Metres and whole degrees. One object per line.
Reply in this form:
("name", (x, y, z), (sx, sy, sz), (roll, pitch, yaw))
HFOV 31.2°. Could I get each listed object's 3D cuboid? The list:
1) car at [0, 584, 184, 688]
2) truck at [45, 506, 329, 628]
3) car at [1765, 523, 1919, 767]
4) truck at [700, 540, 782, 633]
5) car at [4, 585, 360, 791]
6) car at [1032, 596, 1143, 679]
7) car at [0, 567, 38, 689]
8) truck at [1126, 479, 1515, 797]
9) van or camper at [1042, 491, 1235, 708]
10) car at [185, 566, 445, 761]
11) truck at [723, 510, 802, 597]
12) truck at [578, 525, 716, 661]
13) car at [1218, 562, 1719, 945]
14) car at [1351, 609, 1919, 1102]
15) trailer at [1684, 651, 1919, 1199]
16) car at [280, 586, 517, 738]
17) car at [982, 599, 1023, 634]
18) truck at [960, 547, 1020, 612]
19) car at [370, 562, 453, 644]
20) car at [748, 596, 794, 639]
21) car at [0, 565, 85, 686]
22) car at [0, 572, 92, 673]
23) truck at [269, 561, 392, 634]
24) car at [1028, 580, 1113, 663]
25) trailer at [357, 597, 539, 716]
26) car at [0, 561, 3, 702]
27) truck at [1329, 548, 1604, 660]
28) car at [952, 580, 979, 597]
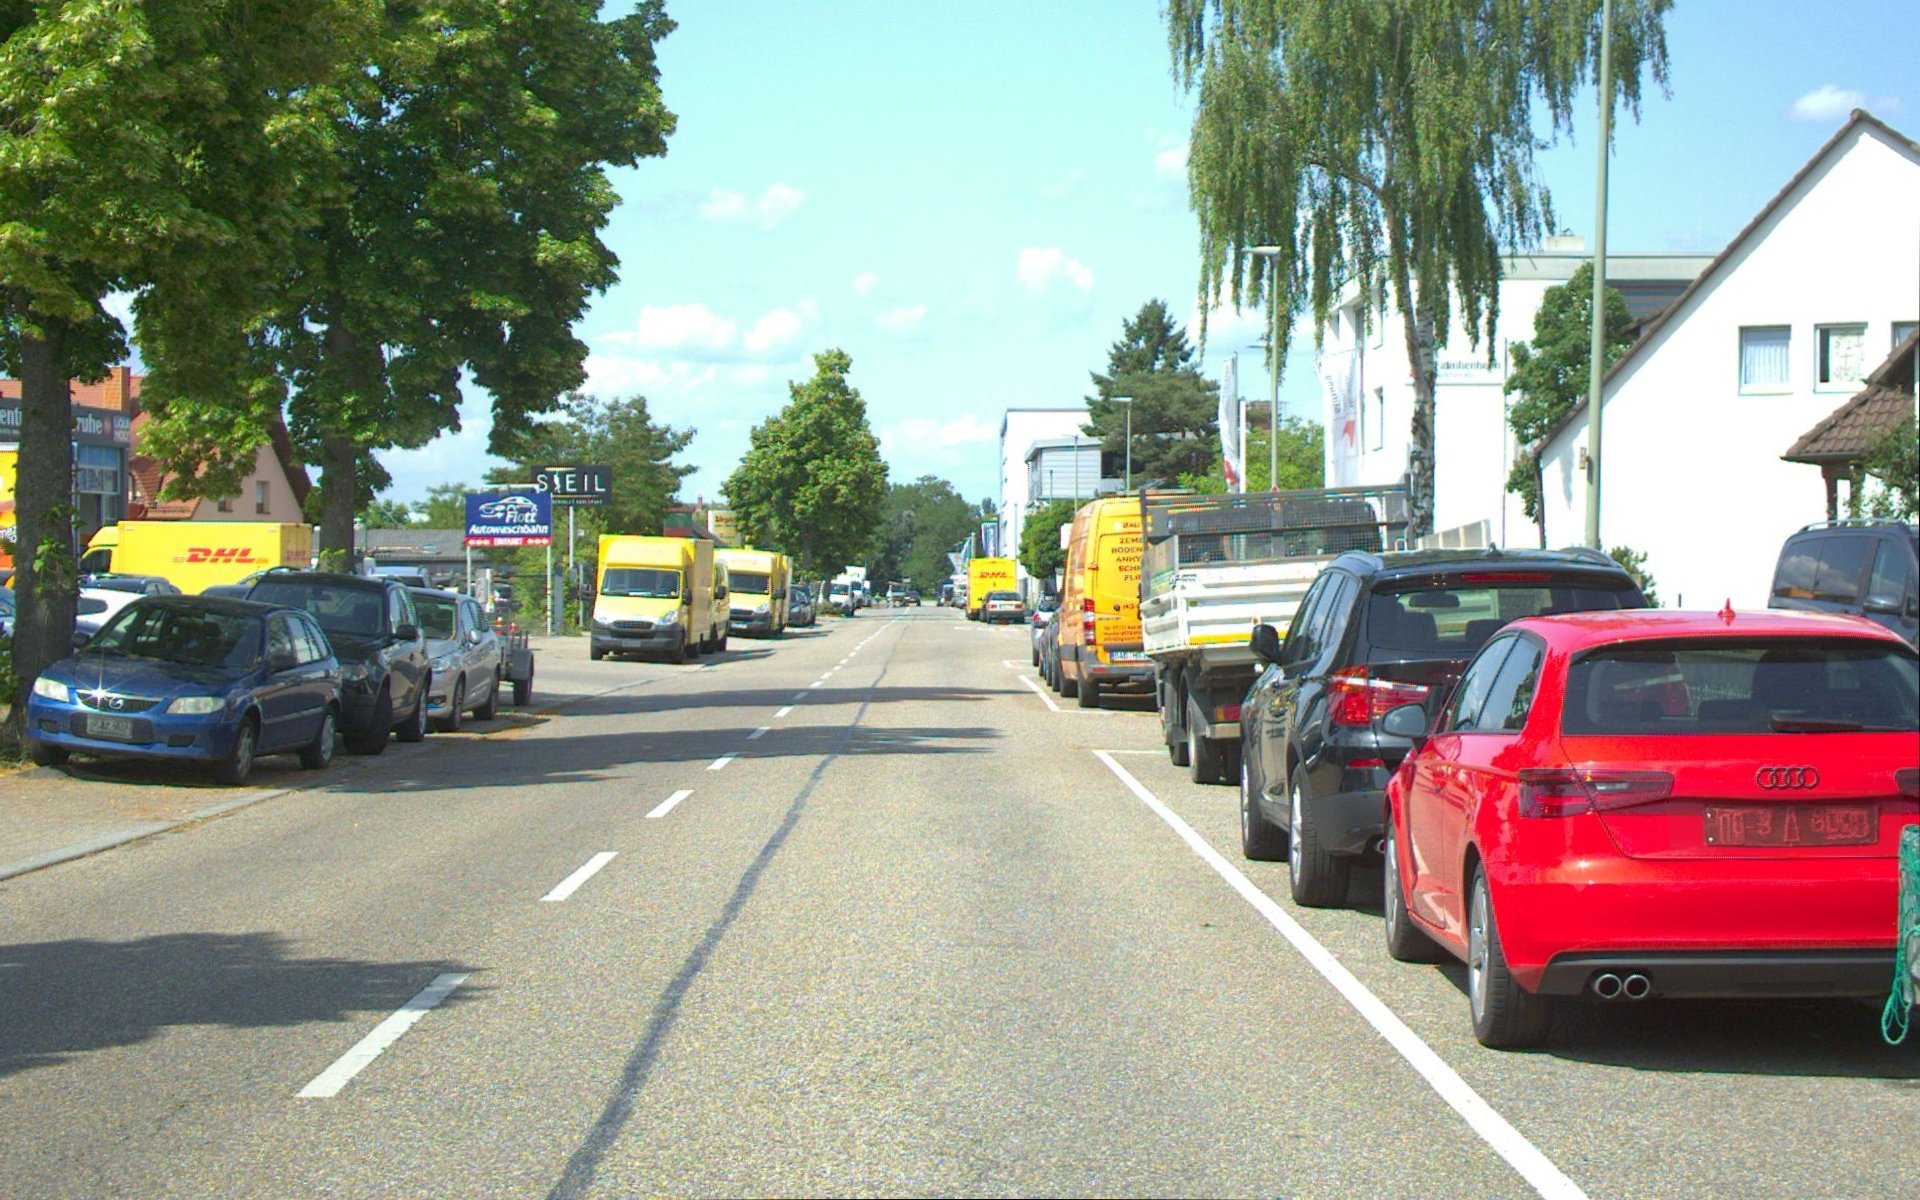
("car", (-13.106, 0.478, 48.055), (4.027, 1.369, 1.827), (1, 0, 5))
("truck", (-19.888, -0.853, 88.555), (6.602, 2.840, 2.527), (2, 1, 13))
("car", (8.148, 0.332, 27.488), (1.856, 1.859, 5.021), (0, 0, -5))
("truck", (-6.997, -0.393, 110.619), (2.269, 2.845, 7.174), (1, 0, -1))
("car", (-6.279, 0.656, 28.202), (1.699, 1.478, 4.158), (2, 1, 4))
("car", (2.141, 0.611, 58.558), (1.669, 1.330, 4.438), (0, 0, -1))
("car", (-13.277, 0.336, 40.836), (4.144, 1.426, 1.827), (0, 0, 3))
("truck", (2.749, 0.258, 27.826), (2.522, 2.291, 5.895), (0, 0, 0))
("van or camper", (2.255, -0.025, 44.962), (1.993, 2.655, 5.770), (0, 0, -2))
("car", (-6.168, 0.555, 33.340), (1.693, 1.694, 4.400), (2, 0, -1))
("truck", (-6.905, -1.612, 120.683), (2.316, 2.853, 7.104), (3, 0, -1))
("truck", (-6.961, -0.171, 77.183), (2.220, 2.847, 7.069), (2, 0, 1))
("car", (2.387, 0.655, 17.259), (1.830, 1.656, 4.554), (0, 0, 0))
("car", (2.473, 0.773, 12.370), (1.684, 1.430, 4.146), (1, 0, 1))
("trailer", (2.729, 0.840, 6.783), (1.608, 1.373, 4.432), (1, 0, -1))
("car", (-6.226, 0.646, 38.551), (1.833, 1.523, 4.237), (2, 1, 1))
("car", (1.838, 0.705, 149.200), (1.651, 1.382, 4.423), (1, 1, 0))
("truck", (1.357, -0.941, 160.996), (2.474, 2.930, 7.189), (1, 0, -2))
("car", (-12.668, 0.034, 79.433), (1.828, 1.699, 4.709), (0, 2, -9))
("car", (-7.613, 0.697, 138.788), (1.724, 1.599, 4.414), (3, 0, -2))
("car", (-13.303, 0.328, 43.141), (4.144, 1.485, 1.827), (0, 0, 3))
("car", (-16.048, 0.362, 58.353), (1.443, 1.650, 3.300), (0, 0, 7))
("truck", (-21.917, -0.097, 119.960), (2.112, 2.479, 5.717), (0, 0, 13))
("car", (2.180, 0.405, 68.540), (1.610, 1.575, 4.000), (1, 0, 1))
("trailer", (-6.437, 0.680, 43.604), (1.761, 1.285, 4.508), (3, 0, -3))
("car", (-13.071, 0.361, 38.552), (4.144, 1.613, 1.827), (0, 0, 3))
("truck", (11.993, 0.075, 81.365), (6.038, 2.568, 2.567), (0, 1, -26))
("car", (0.381, -0.853, 253.786), (1.928, 1.306, 4.000), (0, 0, 0))
